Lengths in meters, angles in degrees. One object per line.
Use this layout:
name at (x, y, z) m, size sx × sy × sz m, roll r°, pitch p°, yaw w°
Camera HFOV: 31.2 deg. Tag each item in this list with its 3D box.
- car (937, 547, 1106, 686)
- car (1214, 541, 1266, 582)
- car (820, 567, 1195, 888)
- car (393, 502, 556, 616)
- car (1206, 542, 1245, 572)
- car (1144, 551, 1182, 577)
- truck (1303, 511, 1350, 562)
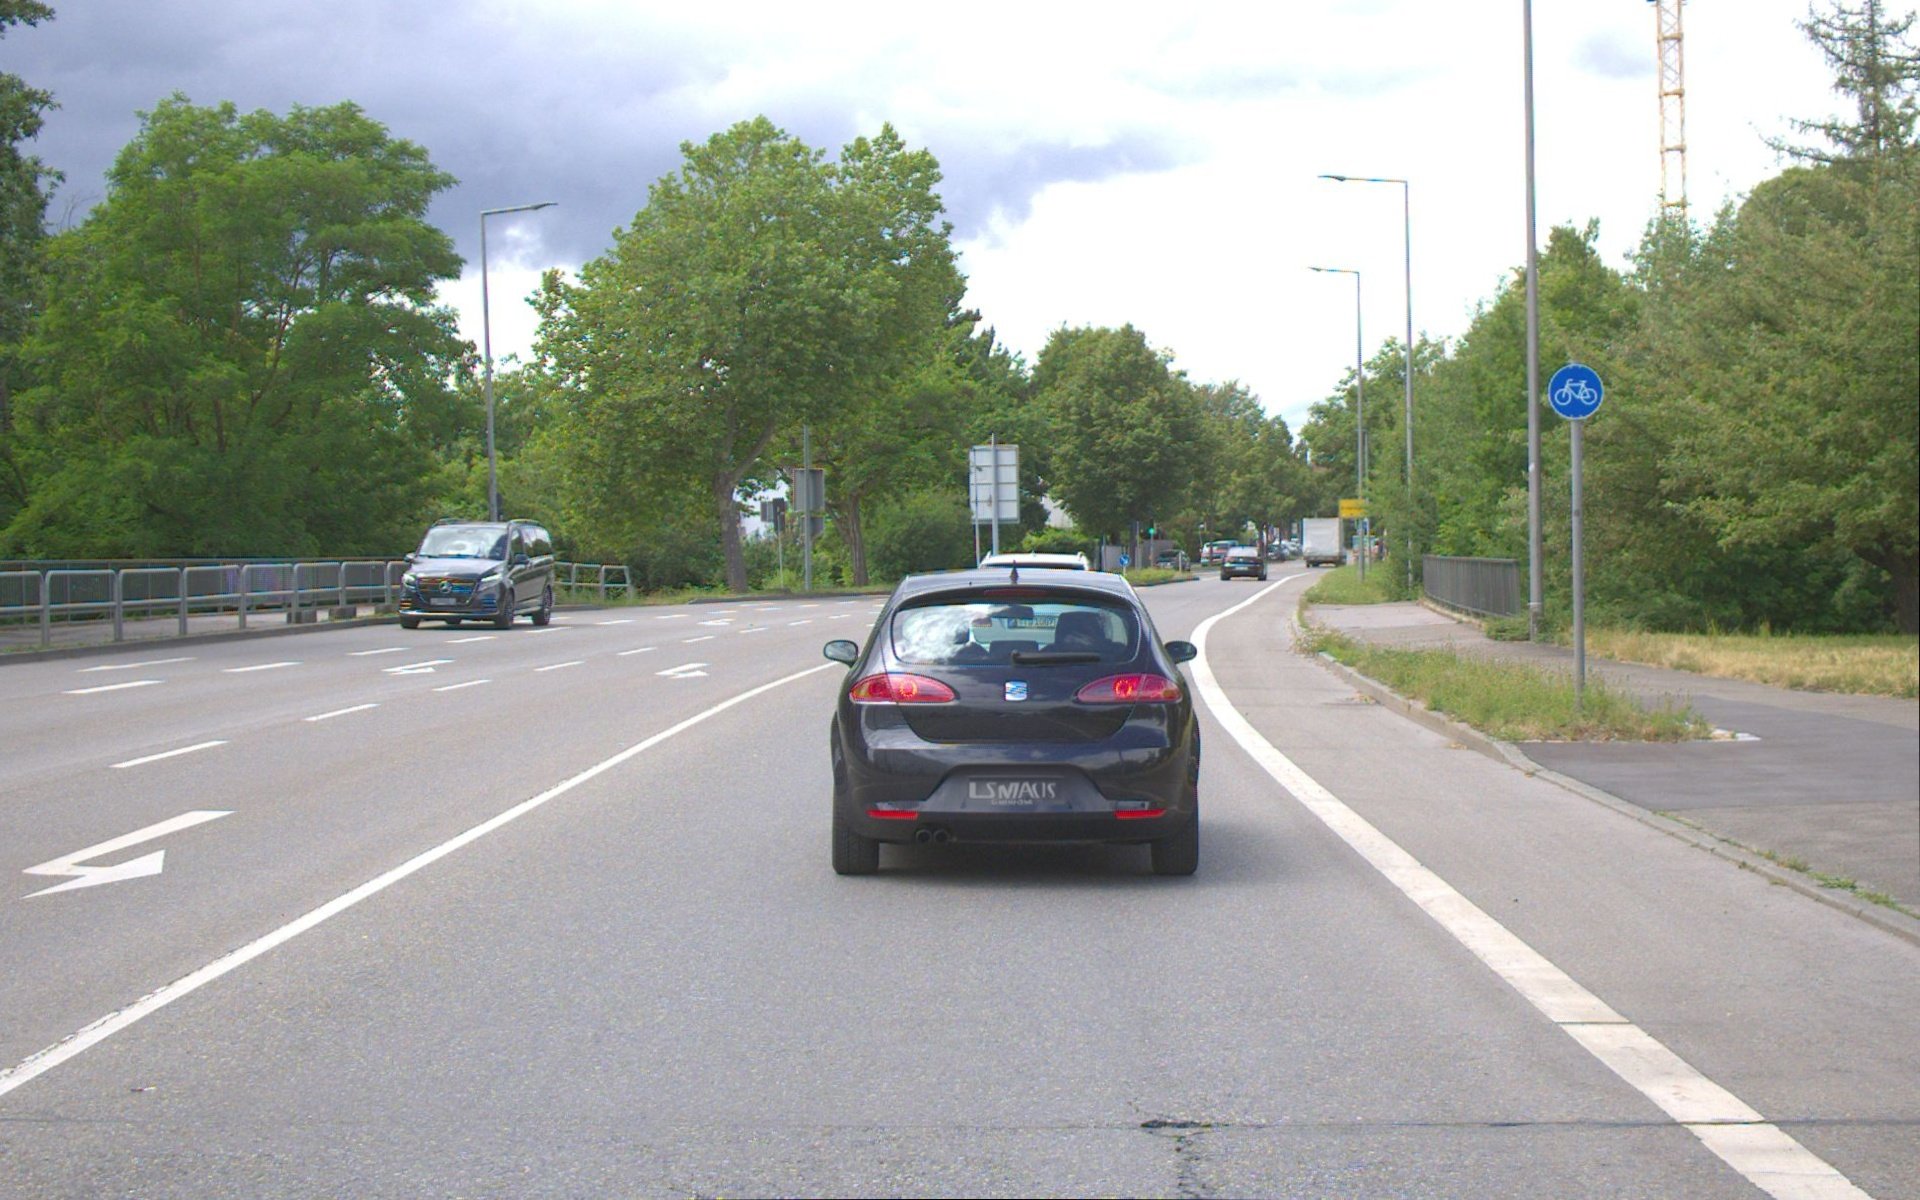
car at (0.759, 0.154, 39.747) m, size 1.846 × 1.504 × 3.811 m, roll 1°, pitch 1°, yaw 3°
car at (11.856, -1.651, 145.382) m, size 1.882 × 1.683 × 4.212 m, roll -1°, pitch 1°, yaw 9°
car at (0.292, 0.549, 17.268) m, size 1.663 × 1.396 × 3.811 m, roll 1°, pitch 1°, yaw 3°
car at (-8.644, -0.750, 61.638) m, size 2.018 × 1.940 × 5.365 m, roll 0°, pitch 1°, yaw 2°
car at (17.876, -2.916, 231.581) m, size 2.100 × 1.890 × 5.782 m, roll -3°, pitch 1°, yaw 9°
car at (12.044, -2.131, 203.515) m, size 1.718 × 1.390 × 4.799 m, roll -3°, pitch 1°, yaw 9°
truck at (22.886, -3.932, 214.393) m, size 2.280 × 3.093 × 8.507 m, roll 1°, pitch 1°, yaw 10°
